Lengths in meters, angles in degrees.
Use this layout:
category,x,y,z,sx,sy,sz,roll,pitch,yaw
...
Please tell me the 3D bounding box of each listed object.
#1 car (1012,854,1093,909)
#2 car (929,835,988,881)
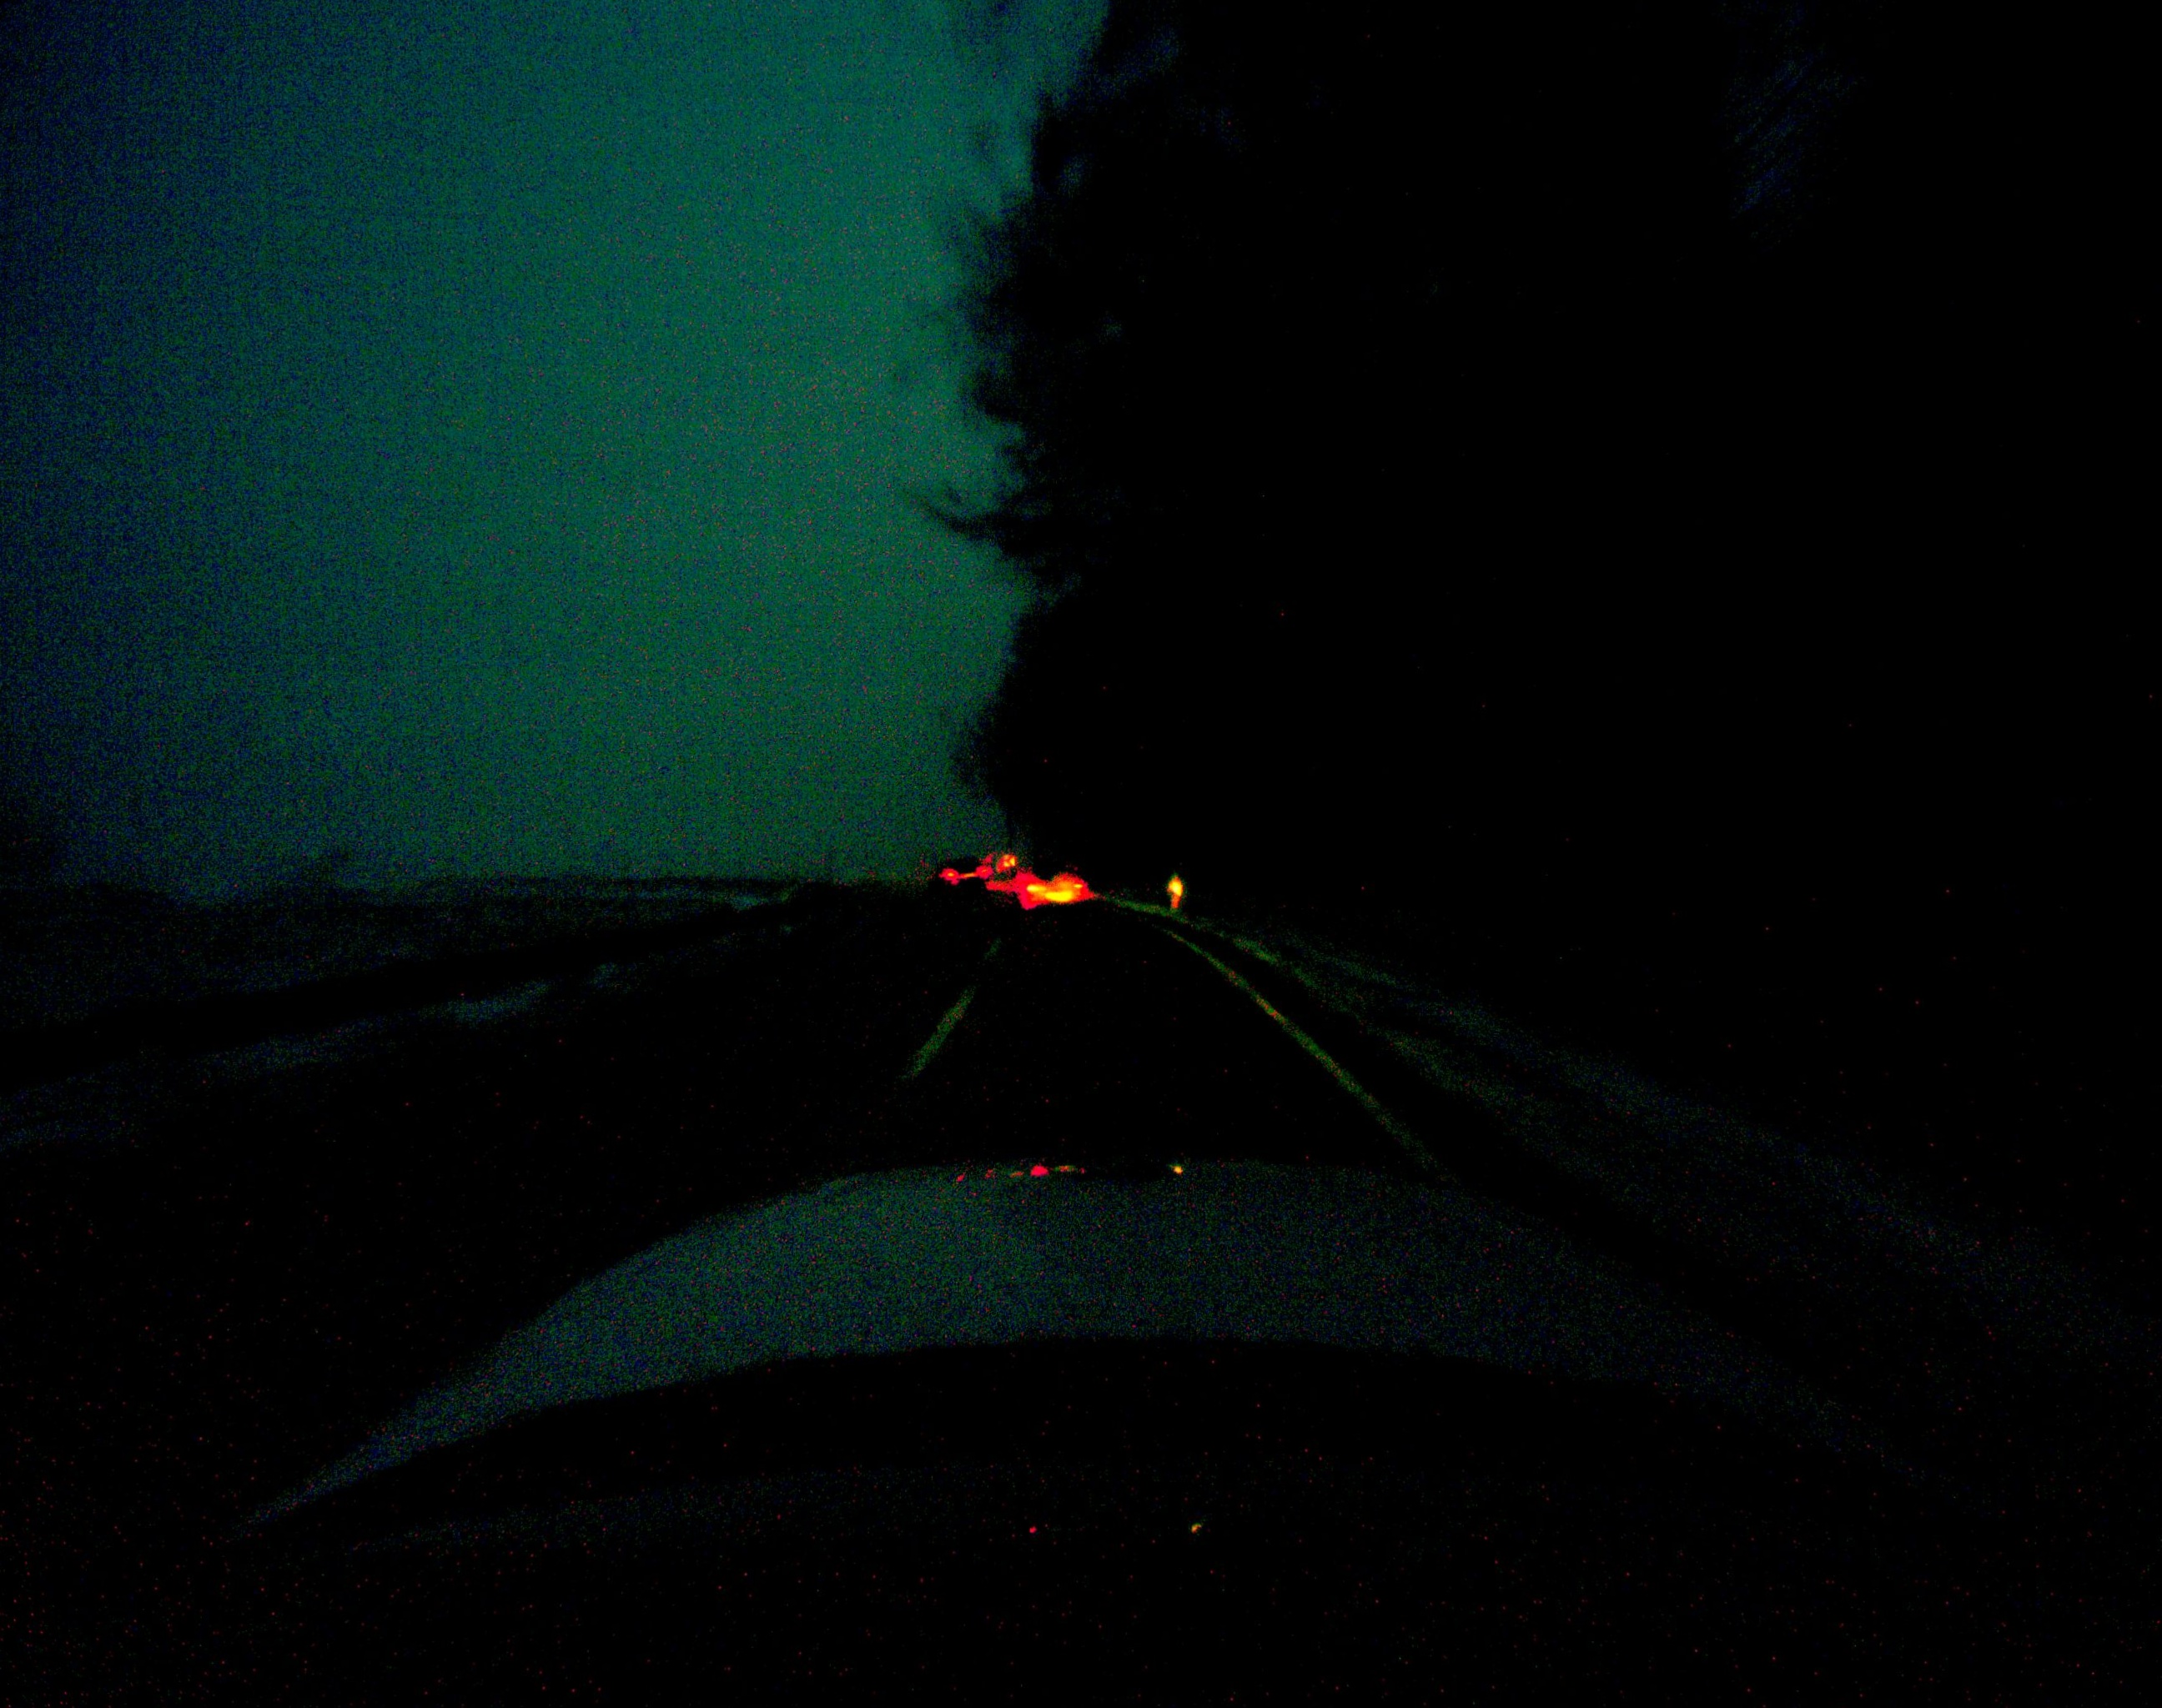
category,x,y,z,sx,sy,sz,roll,pitch,yaw
car,-0.912,0.725,23.416,1.944,1.381,3.990,-2,0,-7
car,-5.320,0.143,34.854,1.997,1.783,3.979,2,0,-15
